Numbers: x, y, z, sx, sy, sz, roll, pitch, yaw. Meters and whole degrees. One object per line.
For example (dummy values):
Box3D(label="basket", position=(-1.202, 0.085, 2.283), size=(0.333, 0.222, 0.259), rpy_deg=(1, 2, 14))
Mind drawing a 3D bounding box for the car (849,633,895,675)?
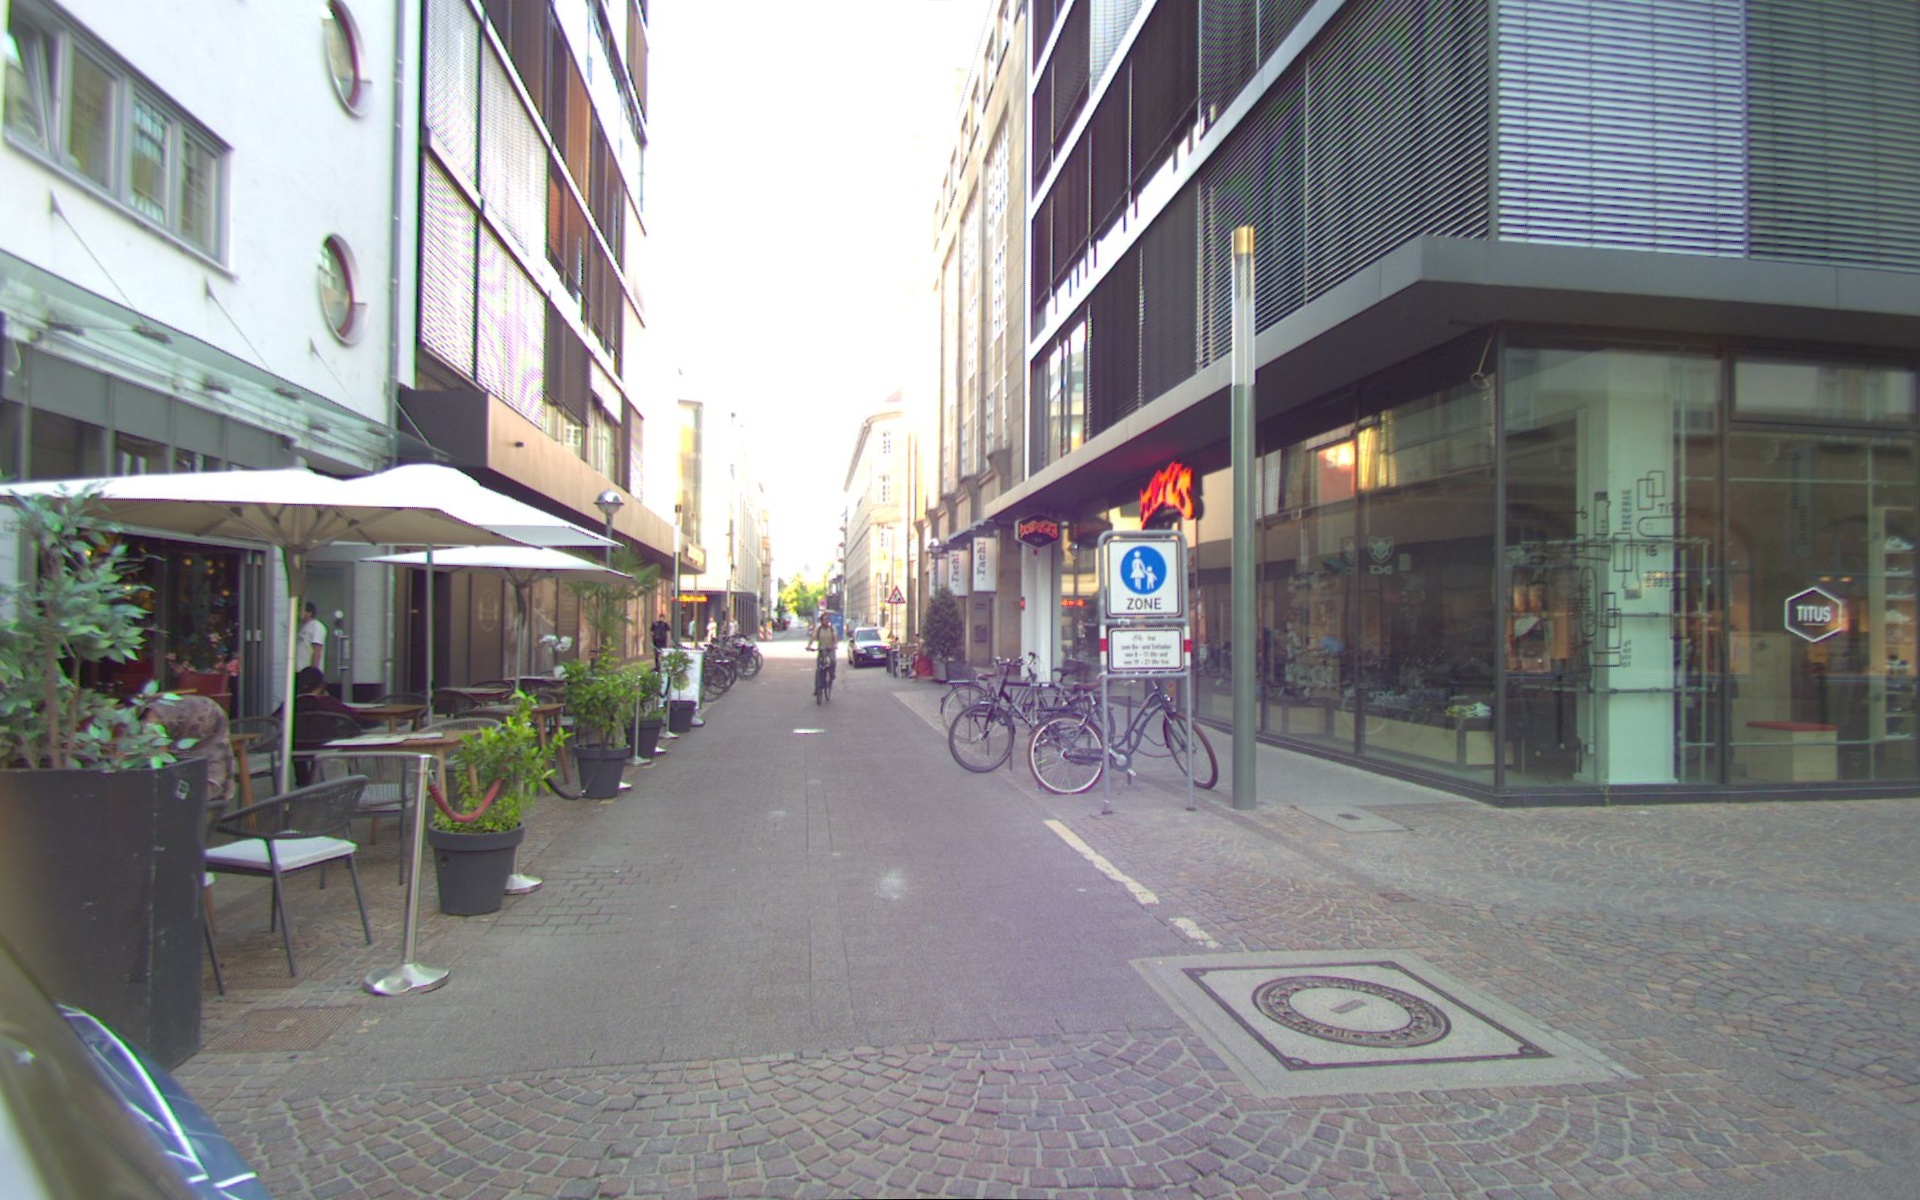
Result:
Box3D(label="car", position=(-3.197, 1.936, 36.921), size=(1.579, 1.434, 3.608), rpy_deg=(0, -2, -5))

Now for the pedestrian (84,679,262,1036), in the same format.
Box3D(label="pedestrian", position=(-2.930, 0.921, 3.797), size=(0.393, 1.223, 0.384), rpy_deg=(1, -2, -18))

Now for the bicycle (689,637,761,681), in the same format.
Box3D(label="bicycle", position=(-6.973, 1.752, 30.125), size=(2.007, 1.176, 0.620), rpy_deg=(3, -2, -9))

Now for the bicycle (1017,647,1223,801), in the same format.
Box3D(label="bicycle", position=(1.377, 1.047, 8.804), size=(1.644, 1.213, 0.510), rpy_deg=(-1, -1, -9))

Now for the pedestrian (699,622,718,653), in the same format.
Box3D(label="pedestrian", position=(-13.231, 1.962, 53.244), size=(0.780, 1.633, 0.629), rpy_deg=(0, -1, 33))

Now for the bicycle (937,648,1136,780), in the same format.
Box3D(label="bicycle", position=(0.763, 1.127, 10.208), size=(1.873, 1.190, 0.518), rpy_deg=(-2, -3, -10))

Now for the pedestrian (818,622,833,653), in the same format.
Box3D(label="pedestrian", position=(-7.381, 2.050, 55.494), size=(0.753, 1.650, 0.670), rpy_deg=(1, -1, -9))

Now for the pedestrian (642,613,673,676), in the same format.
Box3D(label="pedestrian", position=(-9.008, 1.308, 30.158), size=(0.791, 1.850, 0.676), rpy_deg=(0, -2, -7))

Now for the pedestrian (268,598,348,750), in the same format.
Box3D(label="pedestrian", position=(-7.886, 0.878, 12.265), size=(0.630, 1.785, 0.604), rpy_deg=(1, -2, -14))

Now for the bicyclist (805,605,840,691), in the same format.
Box3D(label="bicyclist", position=(-2.759, 0.948, 20.299), size=(0.665, 1.683, 0.871), rpy_deg=(0, -2, -10))

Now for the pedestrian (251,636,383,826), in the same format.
Box3D(label="pedestrian", position=(-5.150, 1.008, 8.158), size=(0.567, 1.431, 0.869), rpy_deg=(0, -2, -8))

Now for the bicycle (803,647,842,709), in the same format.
Box3D(label="bicycle", position=(-2.780, 1.542, 20.349), size=(0.688, 1.137, 2.009), rpy_deg=(0, -2, -10))

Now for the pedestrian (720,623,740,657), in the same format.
Box3D(label="pedestrian", position=(-11.220, 1.930, 49.363), size=(0.770, 1.633, 0.638), rpy_deg=(1, -1, -32))

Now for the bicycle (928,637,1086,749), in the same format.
Box3D(label="bicycle", position=(0.588, 1.168, 12.930), size=(1.873, 1.279, 0.539), rpy_deg=(-3, -1, -8))

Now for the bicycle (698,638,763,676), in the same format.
Box3D(label="bicycle", position=(-7.329, 1.813, 32.379), size=(2.007, 1.176, 0.620), rpy_deg=(0, -2, -9))

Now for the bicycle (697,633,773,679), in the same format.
Box3D(label="bicycle", position=(-6.362, 1.586, 28.647), size=(2.007, 1.176, 0.667), rpy_deg=(3, -2, -9))

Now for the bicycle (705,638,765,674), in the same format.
Box3D(label="bicycle", position=(-7.748, 1.921, 34.896), size=(2.007, 1.225, 0.620), rpy_deg=(0, -2, -9))

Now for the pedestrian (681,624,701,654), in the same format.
Box3D(label="pedestrian", position=(-13.974, 2.038, 52.595), size=(0.771, 1.536, 0.636), rpy_deg=(2, -1, -44))

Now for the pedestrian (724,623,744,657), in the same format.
Box3D(label="pedestrian", position=(-10.893, 1.927, 48.828), size=(0.770, 1.633, 0.638), rpy_deg=(1, -1, -32))

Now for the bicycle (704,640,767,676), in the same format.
Box3D(label="bicycle", position=(-7.492, 1.924, 33.814), size=(2.007, 1.176, 0.620), rpy_deg=(0, -2, -9))

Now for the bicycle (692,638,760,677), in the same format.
Box3D(label="bicycle", position=(-7.225, 1.761, 31.279), size=(2.007, 1.176, 0.620), rpy_deg=(0, -2, -9))

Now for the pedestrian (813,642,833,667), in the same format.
Box3D(label="pedestrian", position=(-9.037, 3.578, 66.722), size=(0.918, 1.584, 0.981), rpy_deg=(-1, -2, 35))
